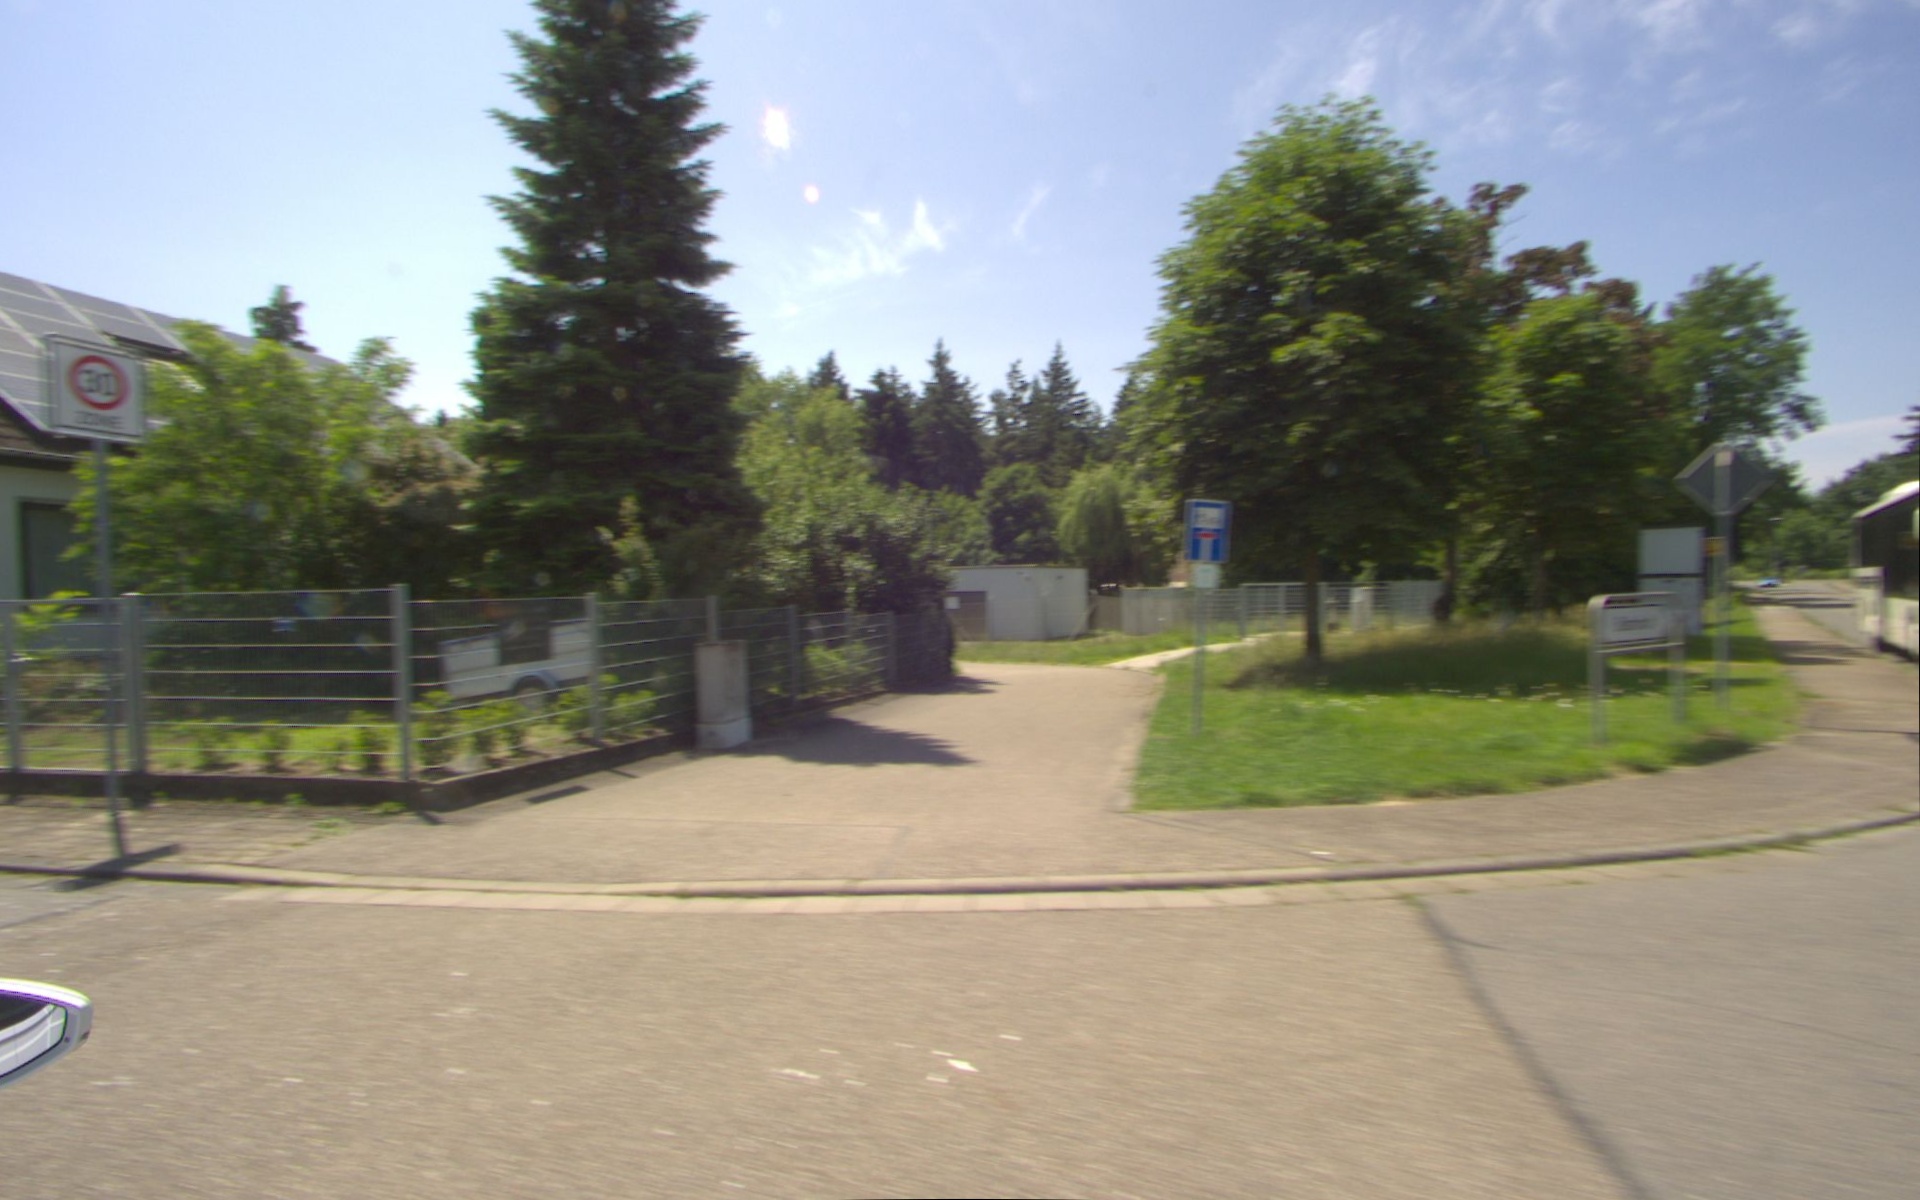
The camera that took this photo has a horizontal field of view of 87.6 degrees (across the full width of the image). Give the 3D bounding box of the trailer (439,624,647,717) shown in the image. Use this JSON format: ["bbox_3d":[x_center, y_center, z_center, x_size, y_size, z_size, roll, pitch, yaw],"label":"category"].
[{"bbox_3d":[-5.302,0.886,12.848,2.179,1.098,1.106,-1,1,5],"label":"trailer"}]

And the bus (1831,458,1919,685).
[{"bbox_3d":[18.858,-0.500,18.527,3.151,3.288,12.623,0,1,37],"label":"bus"}]
